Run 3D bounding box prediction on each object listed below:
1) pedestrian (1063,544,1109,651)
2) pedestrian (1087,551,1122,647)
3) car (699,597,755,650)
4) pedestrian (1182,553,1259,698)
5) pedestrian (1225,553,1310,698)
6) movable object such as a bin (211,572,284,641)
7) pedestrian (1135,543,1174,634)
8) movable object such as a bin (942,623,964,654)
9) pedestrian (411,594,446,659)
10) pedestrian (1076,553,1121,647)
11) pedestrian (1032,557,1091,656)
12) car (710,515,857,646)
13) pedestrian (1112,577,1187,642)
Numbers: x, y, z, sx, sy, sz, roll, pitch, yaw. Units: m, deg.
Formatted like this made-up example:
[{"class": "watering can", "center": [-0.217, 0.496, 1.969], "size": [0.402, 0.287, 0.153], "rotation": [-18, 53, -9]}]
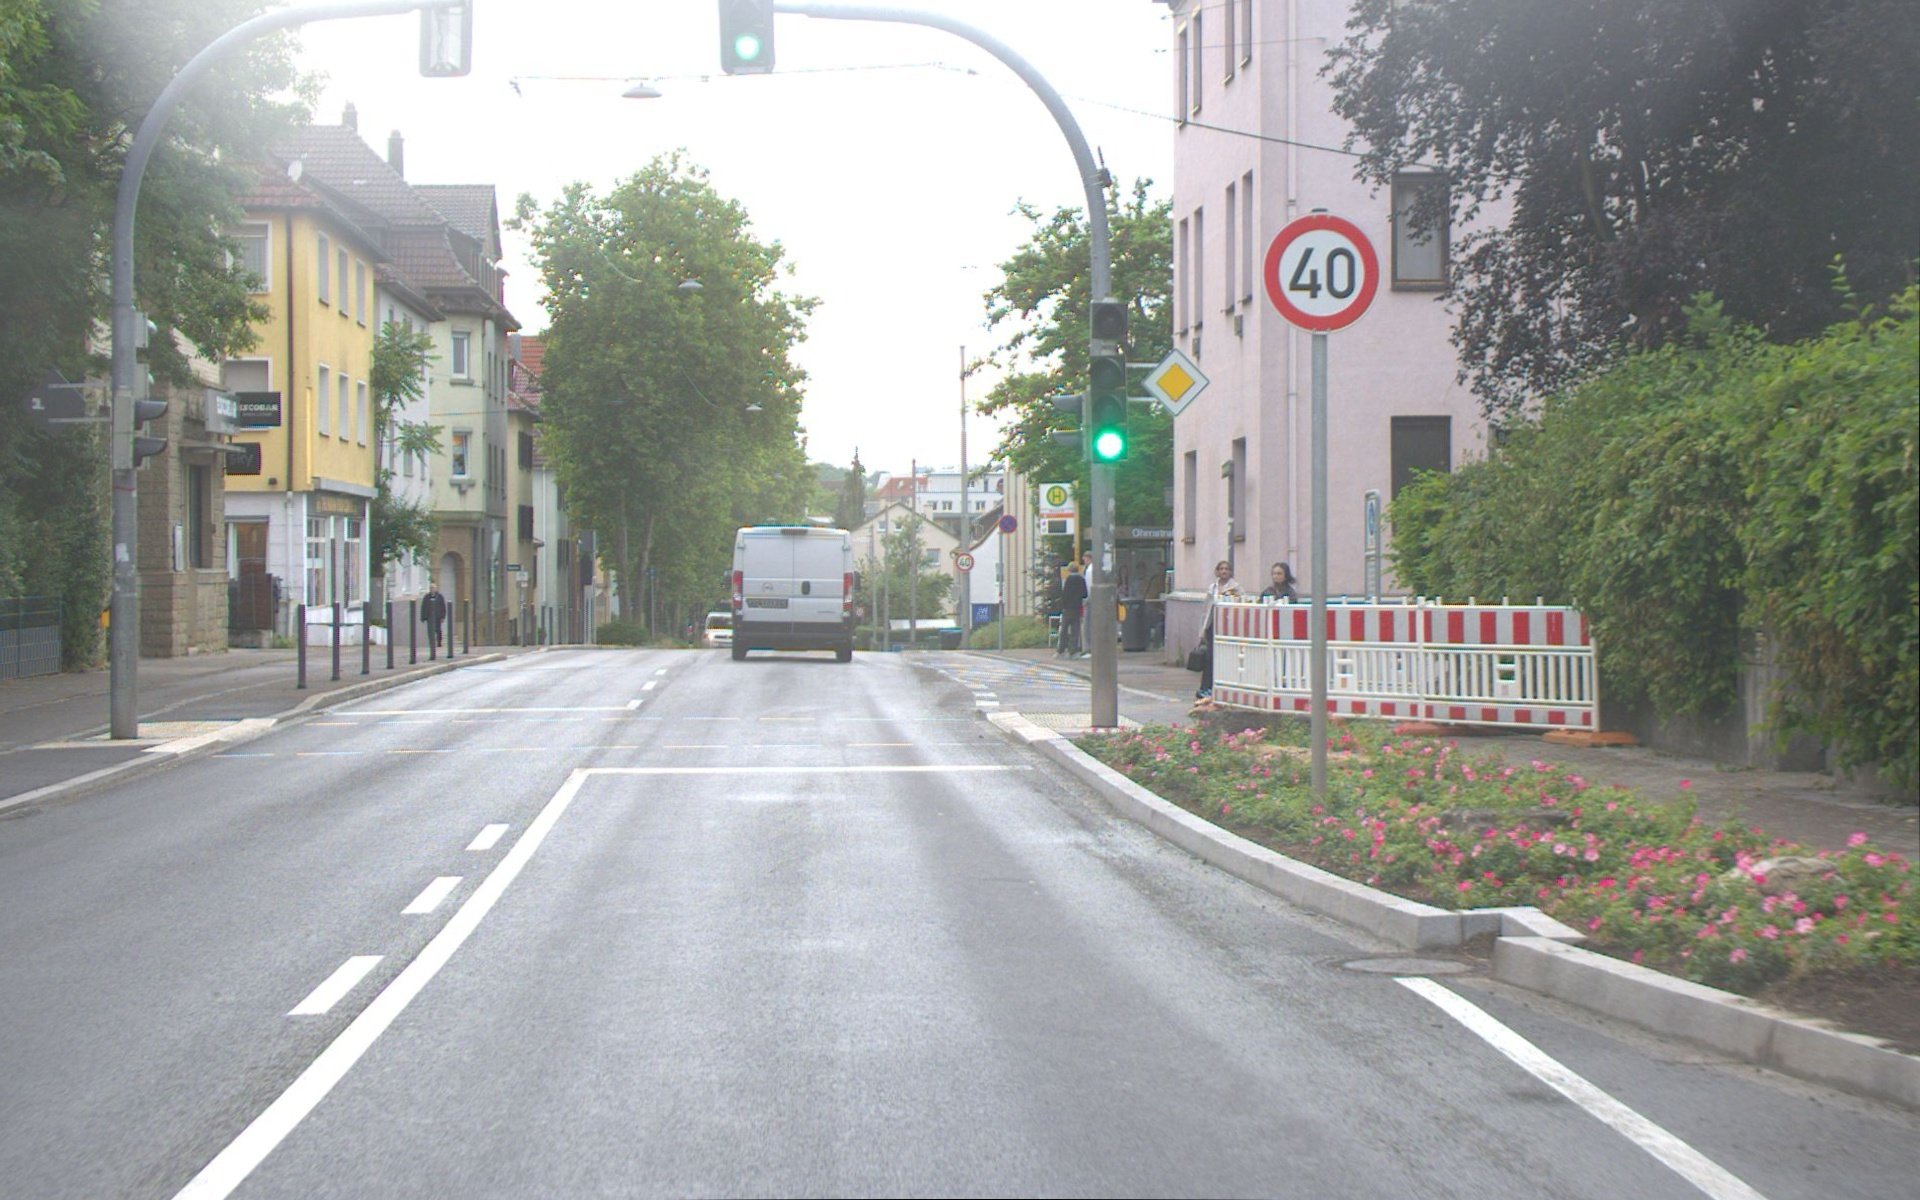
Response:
[{"class": "pedestrian", "center": [2.234, -0.046, 60.728], "size": [0.487, 1.869, 0.631], "rotation": [-3, 0, 32]}, {"class": "pedestrian", "center": [2.573, -0.022, 61.358], "size": [0.446, 1.702, 0.557], "rotation": [-3, 0, 14]}, {"class": "car", "center": [-8.403, 0.865, 124.279], "size": [1.881, 1.863, 4.453], "rotation": [-1, -1, -3]}, {"class": "pedestrian", "center": [2.999, 0.295, 39.681], "size": [0.784, 1.636, 1.222], "rotation": [1, 0, 1]}, {"class": "pedestrian", "center": [3.409, 0.280, 38.053], "size": [0.875, 1.555, 1.049], "rotation": [1, 0, 7]}, {"class": "movable object such as a bin", "center": [-14.530, 0.128, 70.146], "size": [1.301, 1.397, 0.983], "rotation": [1, 0, -3]}, {"class": "pedestrian", "center": [3.964, -0.233, 69.949], "size": [0.647, 1.825, 0.741], "rotation": [-1, 0, 11]}, {"class": "movable object such as a bin", "center": [-0.254, 1.409, 125.138], "size": [0.695, 1.078, 0.778], "rotation": [-3, -1, -2]}, {"class": "pedestrian", "center": [-13.720, 0.691, 88.770], "size": [0.815, 1.674, 0.993], "rotation": [1, -1, -5]}, {"class": "pedestrian", "center": [2.592, 0.003, 64.281], "size": [0.660, 1.735, 0.829], "rotation": [-1, 0, -8]}, {"class": "pedestrian", "center": [1.770, 0.114, 60.218], "size": [0.634, 1.704, 0.749], "rotation": [-3, 0, -36]}, {"class": "car", "center": [-3.083, -0.344, 59.071], "size": [2.346, 2.153, 4.778], "rotation": [0, 1, -5]}, {"class": "pedestrian", "center": [3.778, 0.194, 68.597], "size": [1.355, 1.269, 0.742], "rotation": [-1, 0, -8]}]
